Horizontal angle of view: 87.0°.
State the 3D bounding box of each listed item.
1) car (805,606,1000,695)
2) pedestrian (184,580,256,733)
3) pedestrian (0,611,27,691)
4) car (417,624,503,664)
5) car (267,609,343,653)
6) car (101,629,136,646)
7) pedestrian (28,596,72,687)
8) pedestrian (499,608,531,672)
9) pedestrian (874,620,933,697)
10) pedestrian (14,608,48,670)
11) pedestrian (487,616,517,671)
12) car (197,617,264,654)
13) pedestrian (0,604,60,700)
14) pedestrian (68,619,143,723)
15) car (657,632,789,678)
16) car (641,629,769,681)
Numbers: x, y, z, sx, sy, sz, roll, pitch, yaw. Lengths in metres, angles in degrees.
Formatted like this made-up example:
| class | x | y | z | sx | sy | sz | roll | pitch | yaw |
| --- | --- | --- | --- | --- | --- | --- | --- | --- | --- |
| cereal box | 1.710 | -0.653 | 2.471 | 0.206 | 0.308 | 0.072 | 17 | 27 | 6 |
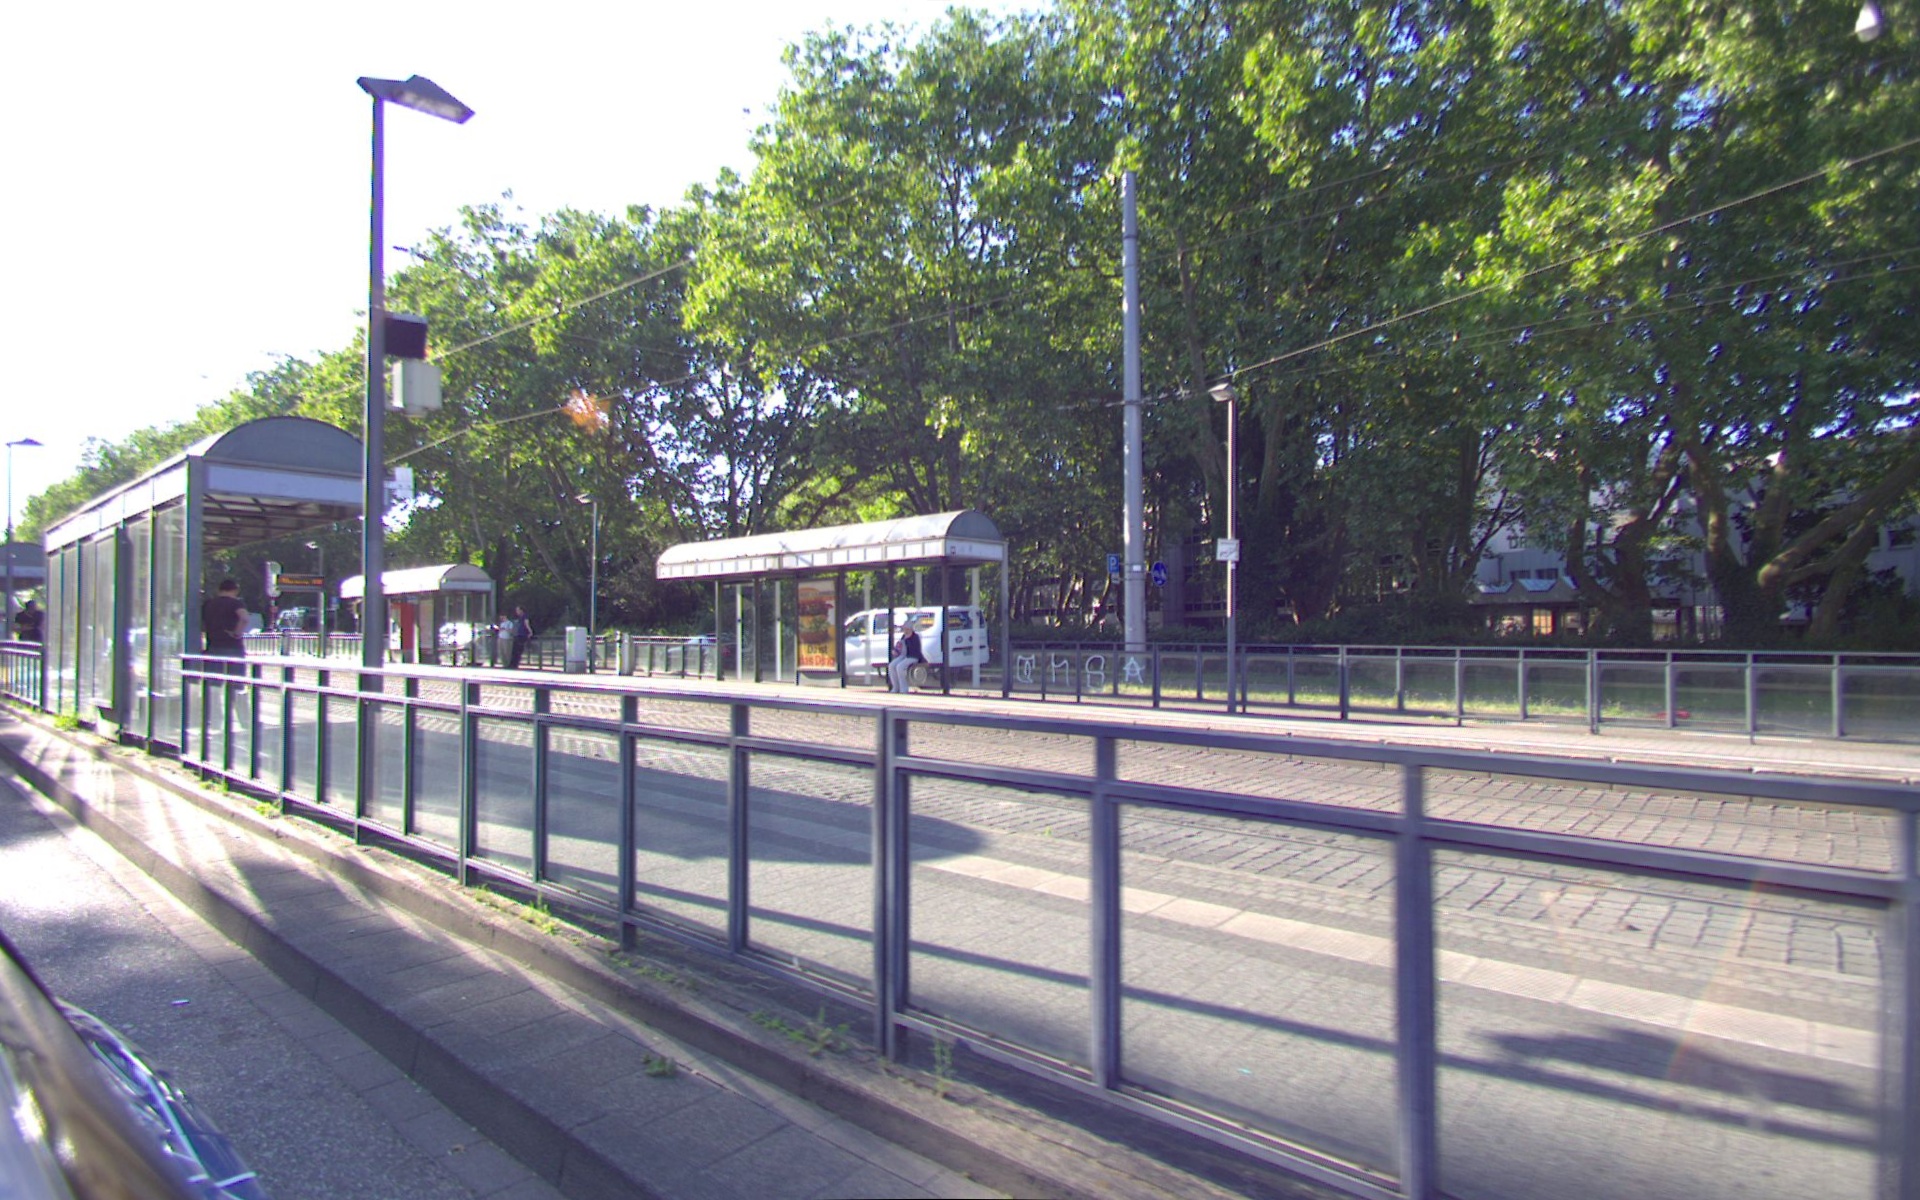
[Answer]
| class | x | y | z | sx | sy | sz | roll | pitch | yaw |
| --- | --- | --- | --- | --- | --- | --- | --- | --- | --- |
| car | -1.594 | 1.284 | 26.645 | 5.086 | 2.140 | 2.046 | -1 | -3 | 40 |
| pedestrian | -8.475 | 0.628 | 11.589 | 0.588 | 1.690 | 0.590 | 0 | -1 | -44 |
| pedestrian | -20.040 | 1.053 | 20.891 | 0.789 | 1.646 | 0.869 | -1 | -1 | -11 |
| car | -22.486 | 1.963 | 45.449 | 3.968 | 1.664 | 1.884 | -1 | -3 | 38 |
| car | -40.334 | 1.880 | 62.230 | 6.027 | 2.540 | 2.161 | -1 | -3 | 40 |
| car | -77.558 | 3.452 | 93.276 | 3.848 | 1.448 | 1.721 | -1 | -3 | 40 |
| pedestrian | -19.105 | 0.854 | 21.264 | 0.643 | 1.855 | 0.712 | -1 | -1 | -39 |
| pedestrian | -12.643 | 1.134 | 28.778 | 0.650 | 1.785 | 0.641 | -1 | -1 | 44 |
| pedestrian | -1.003 | 1.036 | 18.038 | 0.756 | 1.335 | 0.663 | -1 | -5 | 39 |
| pedestrian | -24.250 | 1.013 | 26.410 | 0.650 | 1.579 | 0.581 | -1 | -1 | 42 |
| pedestrian | -13.259 | 1.254 | 29.303 | 0.626 | 1.555 | 0.586 | -1 | -1 | 42 |
| car | -51.783 | 2.495 | 71.802 | 6.264 | 2.540 | 2.162 | -1 | -3 | 38 |
| pedestrian | -17.283 | 0.950 | 18.724 | 0.701 | 1.735 | 0.652 | -1 | 0 | 6 |
| pedestrian | -11.186 | 0.907 | 13.250 | 0.593 | 1.319 | 0.671 | -1 | -1 | 42 |
| car | -7.486 | 1.694 | 31.767 | 4.311 | 1.302 | 1.752 | -1 | -3 | 40 |
| car | -8.271 | 1.741 | 32.624 | 4.338 | 1.522 | 1.776 | -1 | -3 | 40 |
